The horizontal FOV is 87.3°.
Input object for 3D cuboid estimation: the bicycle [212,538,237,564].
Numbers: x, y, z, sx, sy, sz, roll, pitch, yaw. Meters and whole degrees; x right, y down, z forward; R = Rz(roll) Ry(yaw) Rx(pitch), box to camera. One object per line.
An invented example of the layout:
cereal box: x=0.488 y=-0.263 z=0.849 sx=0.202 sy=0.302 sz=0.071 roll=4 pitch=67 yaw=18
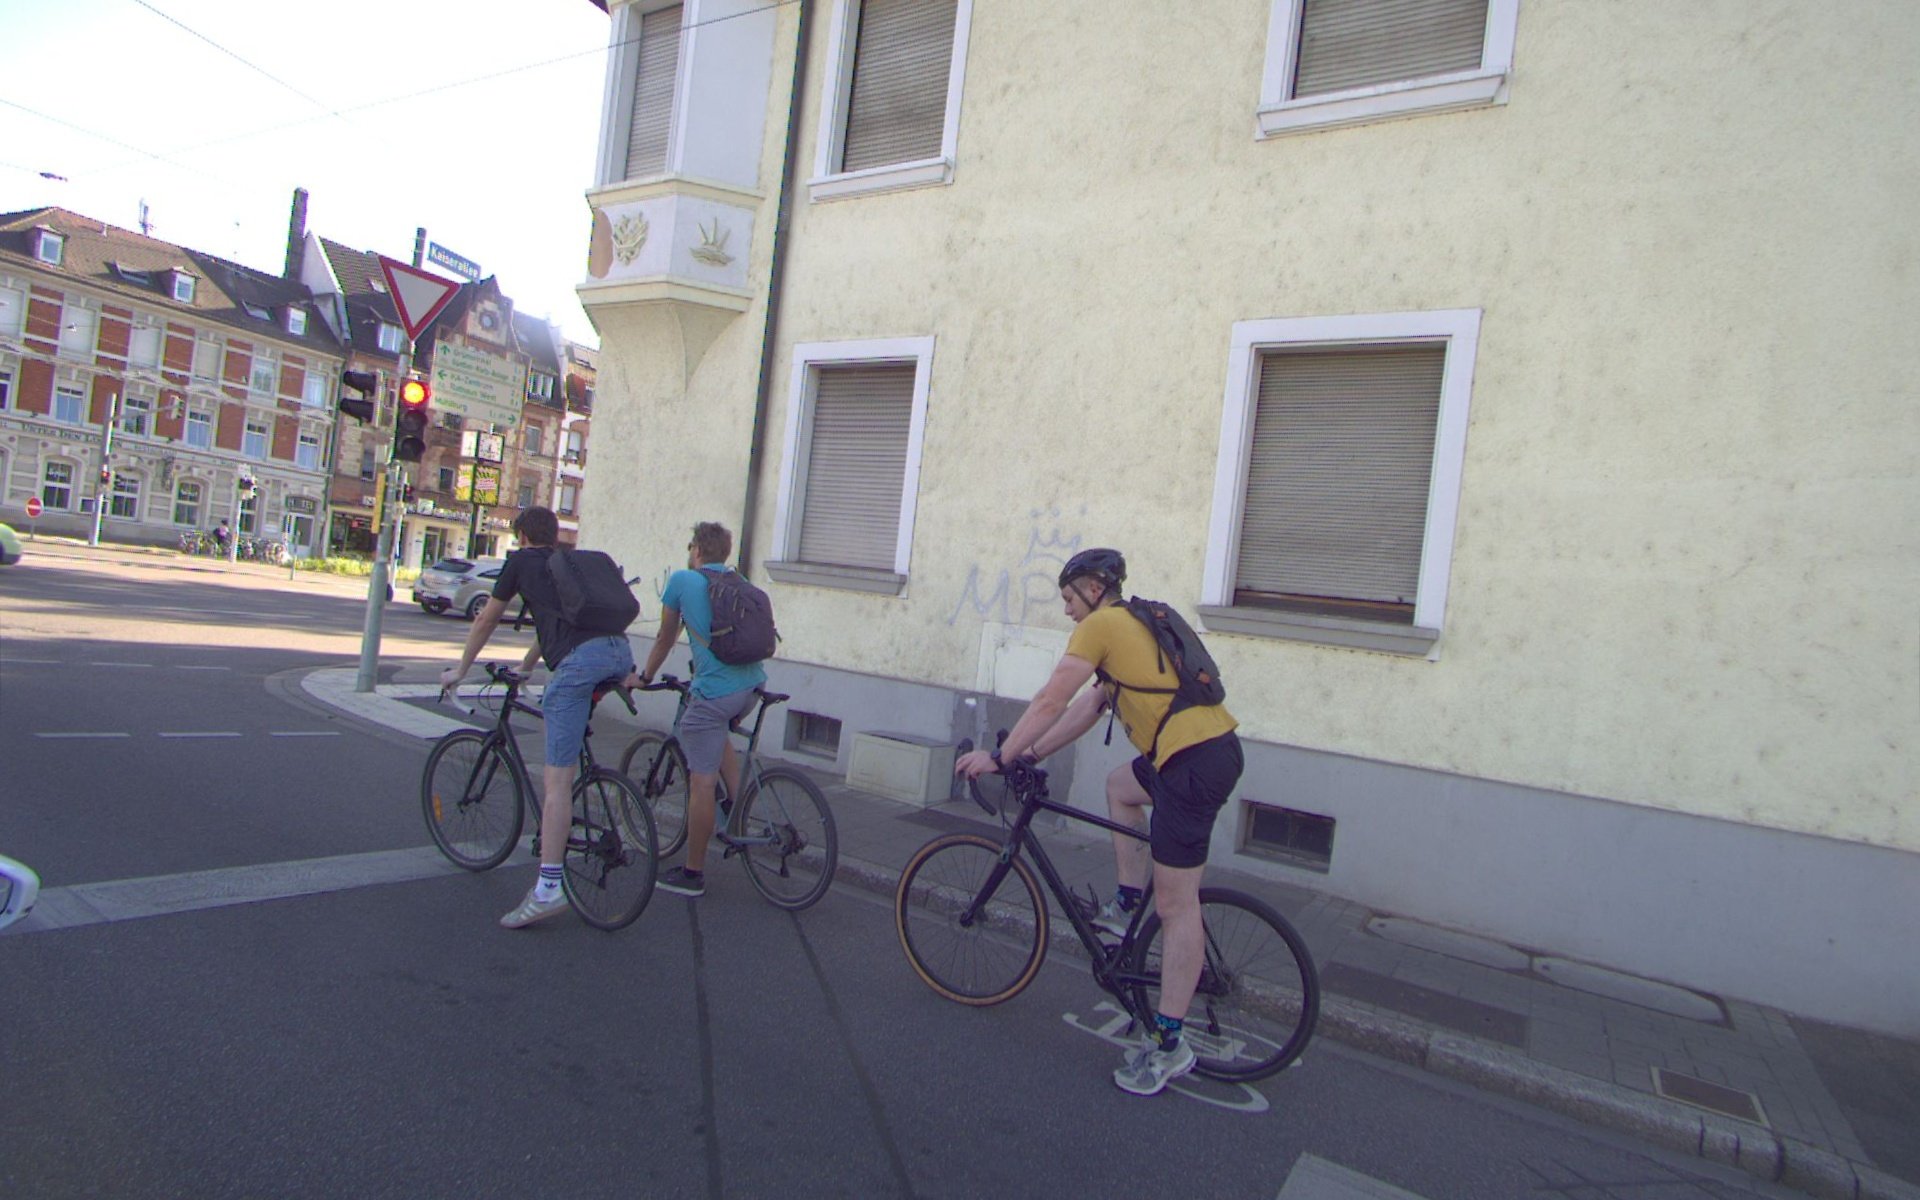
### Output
bicycle: x=-34.183 y=-2.289 z=46.748 sx=1.759 sy=1.033 sz=0.485 roll=7 pitch=0 yaw=42

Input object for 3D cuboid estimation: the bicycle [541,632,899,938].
bicycle: x=-1.304 y=0.877 z=5.281 sx=1.858 sy=1.180 sz=0.571 roll=7 pitch=0 yaw=32

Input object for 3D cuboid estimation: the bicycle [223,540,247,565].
bicycle: x=-33.996 y=-2.247 z=47.172 sx=1.759 sy=1.033 sz=0.485 roll=7 pitch=0 yaw=42

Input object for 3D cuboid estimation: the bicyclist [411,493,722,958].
bicyclist: x=-1.745 y=0.491 z=4.470 sx=0.978 sy=1.788 sz=0.652 roll=7 pitch=0 yaw=32

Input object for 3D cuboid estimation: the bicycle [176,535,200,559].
bicycle: x=-35.059 y=-2.411 z=45.666 sx=1.759 sy=0.925 sz=0.485 roll=7 pitch=0 yaw=42

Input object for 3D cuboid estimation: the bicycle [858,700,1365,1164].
bicycle: x=0.518 y=1.089 z=3.773 sx=1.670 sy=1.180 sz=0.571 roll=7 pitch=0 yaw=32

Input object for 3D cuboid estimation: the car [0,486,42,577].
car: x=-17.881 y=-1.389 z=16.318 sx=1.710 sy=1.516 sz=3.967 roll=7 pitch=-1 yaw=25

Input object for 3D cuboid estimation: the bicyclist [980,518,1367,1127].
bicyclist: x=0.777 y=0.696 z=3.657 sx=1.019 sy=1.839 sz=0.652 roll=7 pitch=0 yaw=32

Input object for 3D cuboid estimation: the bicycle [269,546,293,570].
bicycle: x=-33.086 y=-2.055 z=48.979 sx=1.759 sy=1.033 sz=0.485 roll=7 pitch=0 yaw=42

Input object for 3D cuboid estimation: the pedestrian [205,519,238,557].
pedestrian: x=-36.586 y=-3.061 z=49.859 sx=0.620 sy=1.731 sz=1.035 roll=6 pitch=-1 yaw=40

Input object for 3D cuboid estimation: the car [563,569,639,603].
car: x=-23.215 y=-0.889 z=65.170 sx=1.966 sy=1.641 sz=4.261 roll=7 pitch=-1 yaw=29

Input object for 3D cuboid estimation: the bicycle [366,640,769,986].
bicycle: x=-1.793 y=0.834 z=4.468 sx=1.858 sy=1.071 sz=0.571 roll=7 pitch=0 yaw=32

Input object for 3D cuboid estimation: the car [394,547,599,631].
car: x=-10.971 y=-0.197 z=24.168 sx=1.710 sy=1.457 sz=4.283 roll=7 pitch=-2 yaw=25

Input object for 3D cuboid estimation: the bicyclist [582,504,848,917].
bicyclist: x=-1.281 y=0.523 z=5.271 sx=0.978 sy=1.910 sz=0.652 roll=7 pitch=0 yaw=32

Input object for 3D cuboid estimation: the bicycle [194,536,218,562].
bicycle: x=-34.634 y=-2.337 z=46.202 sx=1.759 sy=1.033 sz=0.485 roll=7 pitch=0 yaw=42

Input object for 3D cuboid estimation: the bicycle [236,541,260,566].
bicycle: x=-33.668 y=-2.188 z=47.564 sx=1.759 sy=1.033 sz=0.485 roll=7 pitch=0 yaw=42

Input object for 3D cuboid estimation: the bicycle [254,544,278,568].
bicycle: x=-33.305 y=-2.111 z=48.292 sx=1.759 sy=1.033 sz=0.485 roll=7 pitch=0 yaw=42
